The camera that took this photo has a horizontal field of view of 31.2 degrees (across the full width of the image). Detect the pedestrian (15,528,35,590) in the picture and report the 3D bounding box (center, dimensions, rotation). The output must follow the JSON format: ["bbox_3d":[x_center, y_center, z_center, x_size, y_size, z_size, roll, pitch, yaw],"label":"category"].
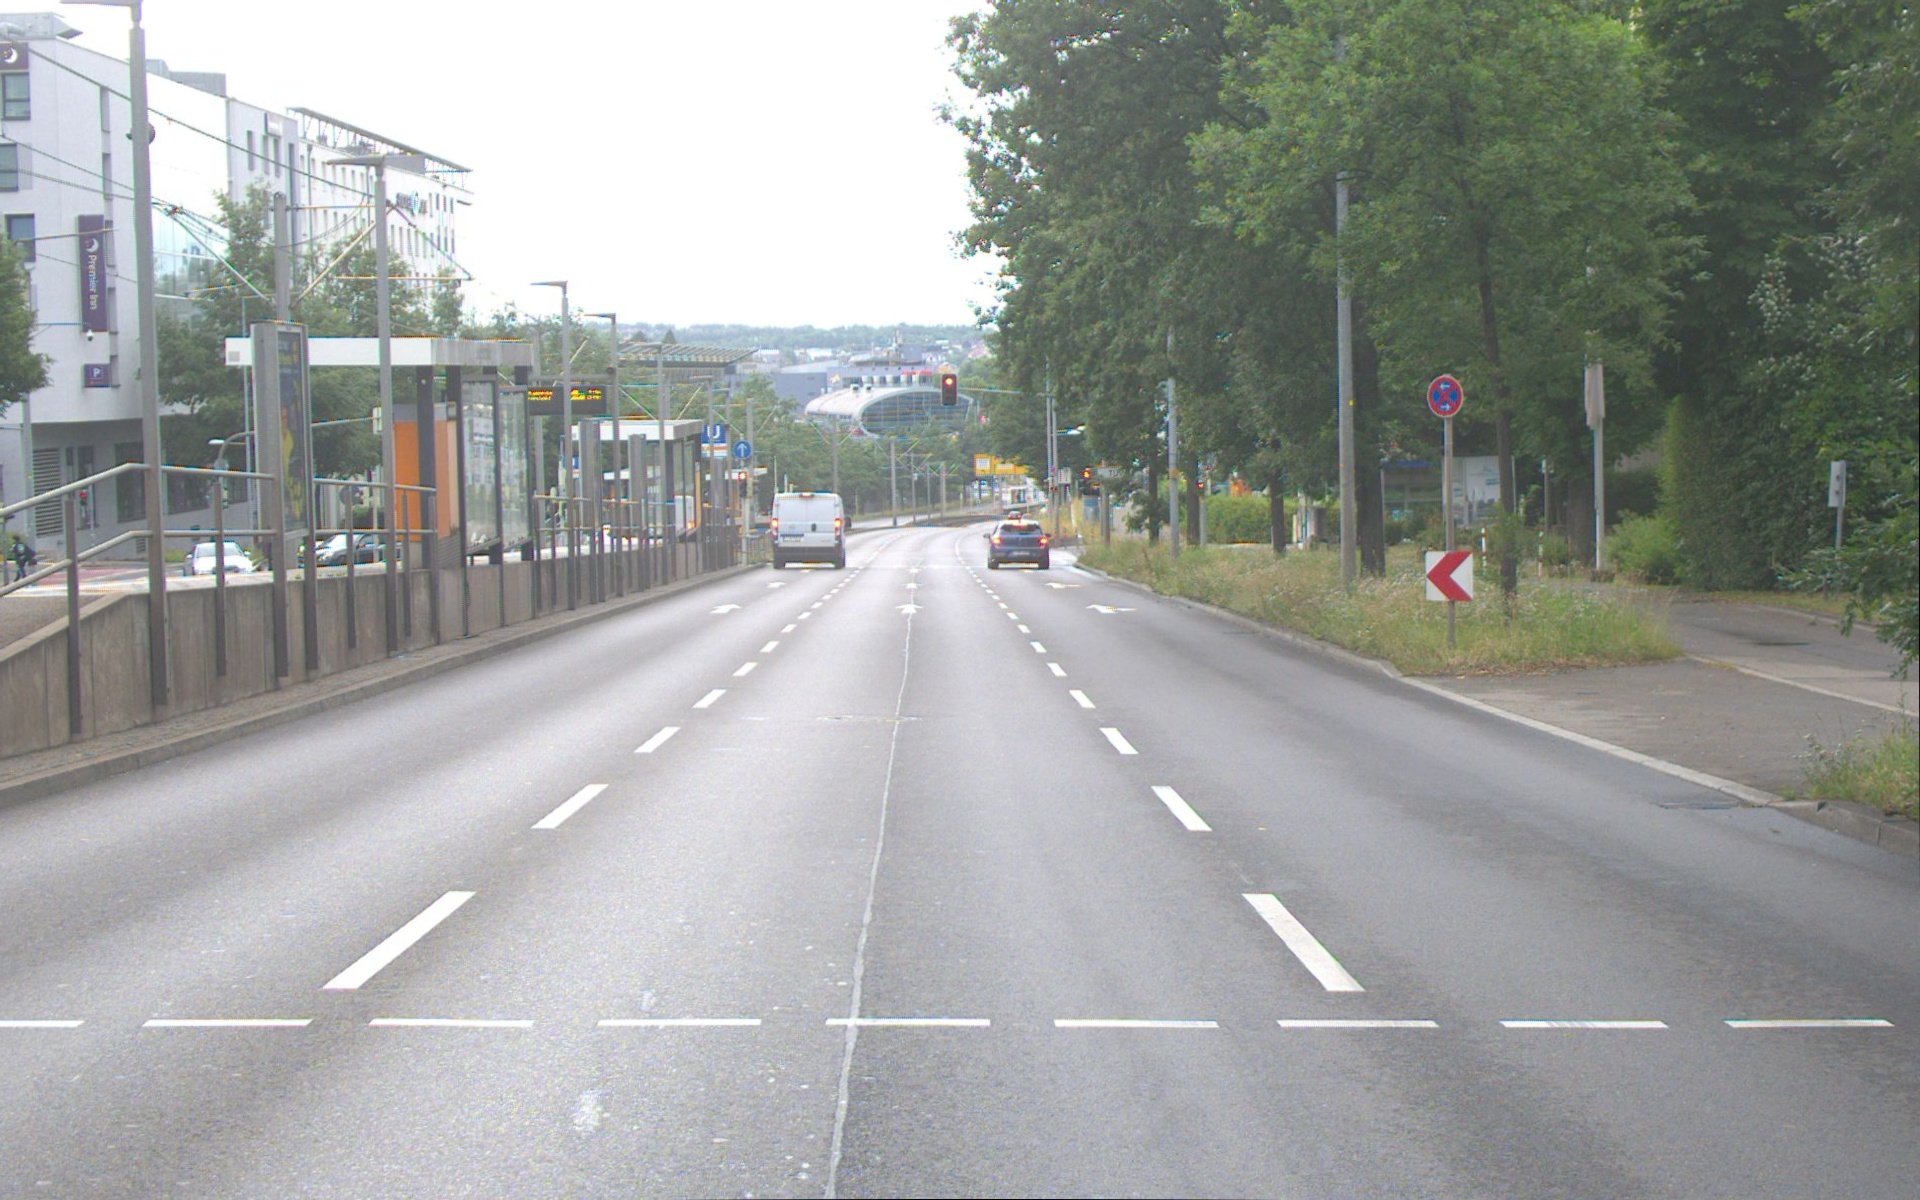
[{"bbox_3d":[-29.181,-1.287,107.326,0.475,1.914,0.490,0,1,-1],"label":"pedestrian"}]

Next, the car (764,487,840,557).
[{"bbox_3d":[-4.679,-2.334,102.432,2.093,2.046,4.607,0,1,-1],"label":"car"}]

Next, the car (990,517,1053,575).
[{"bbox_3d":[1.814,-1.626,102.782,1.774,1.685,3.846,0,1,-1],"label":"car"}]

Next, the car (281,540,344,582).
[{"bbox_3d":[-21.810,-1.322,115.920,1.567,1.374,3.519,0,2,-2],"label":"car"}]

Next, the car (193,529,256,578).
[{"bbox_3d":[-23.229,-1.475,108.689,1.650,1.431,3.881,-3,1,-9],"label":"car"}]

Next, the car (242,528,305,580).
[{"bbox_3d":[-20.555,-1.379,102.838,1.650,1.431,3.881,-3,1,-13],"label":"car"}]
